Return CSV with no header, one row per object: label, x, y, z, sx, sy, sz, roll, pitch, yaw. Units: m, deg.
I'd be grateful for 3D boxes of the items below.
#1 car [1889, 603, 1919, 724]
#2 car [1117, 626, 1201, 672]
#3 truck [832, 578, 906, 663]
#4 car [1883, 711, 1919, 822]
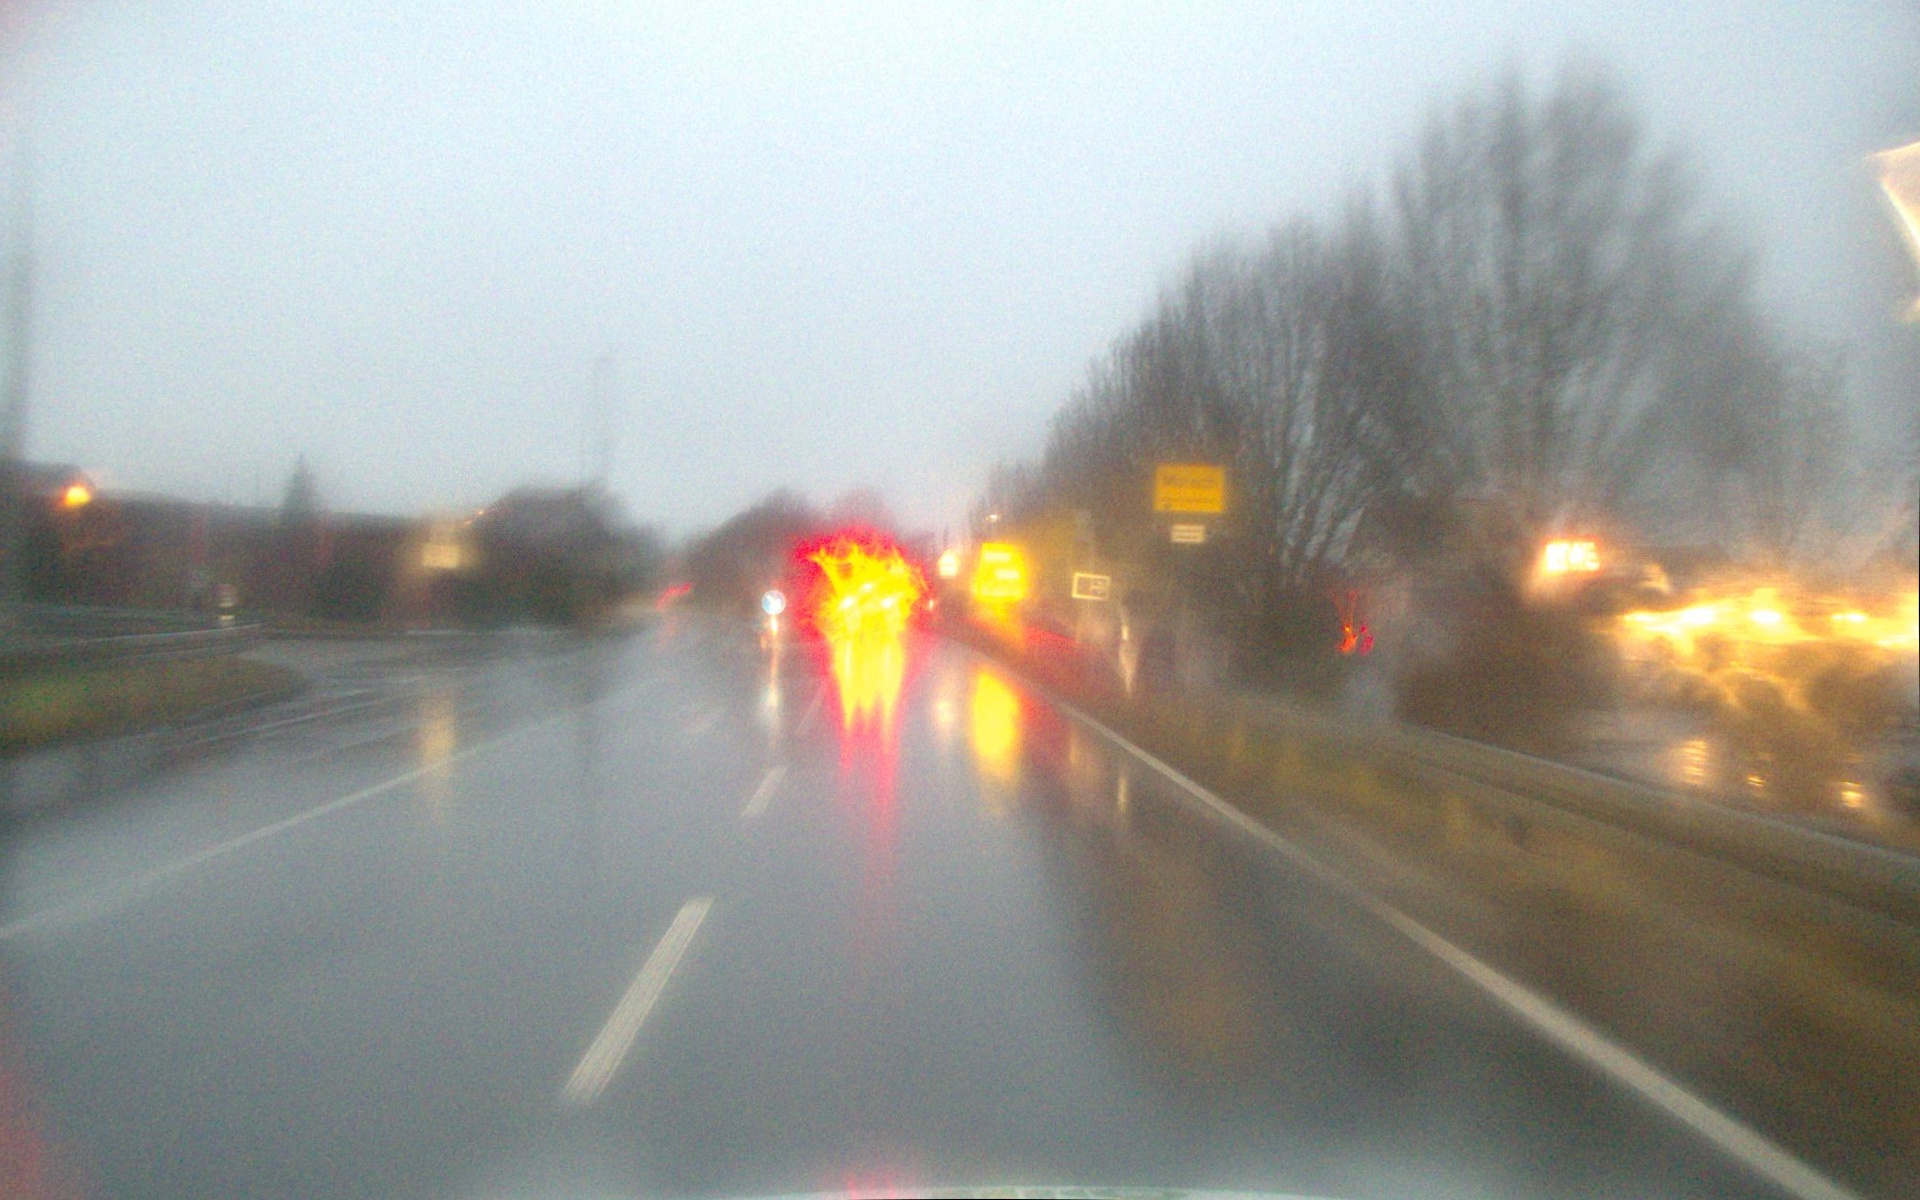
car,24.717,1.531,38.103,5.529,2.825,2.089,-1,-4,41
car,9.430,2.335,78.562,3.902,2.049,2.001,2,-3,6
truck,-3.424,0.702,61.404,2.482,2.919,5.917,2,0,-4
car,14.549,2.315,22.259,3.472,1.448,1.658,3,-2,-11
